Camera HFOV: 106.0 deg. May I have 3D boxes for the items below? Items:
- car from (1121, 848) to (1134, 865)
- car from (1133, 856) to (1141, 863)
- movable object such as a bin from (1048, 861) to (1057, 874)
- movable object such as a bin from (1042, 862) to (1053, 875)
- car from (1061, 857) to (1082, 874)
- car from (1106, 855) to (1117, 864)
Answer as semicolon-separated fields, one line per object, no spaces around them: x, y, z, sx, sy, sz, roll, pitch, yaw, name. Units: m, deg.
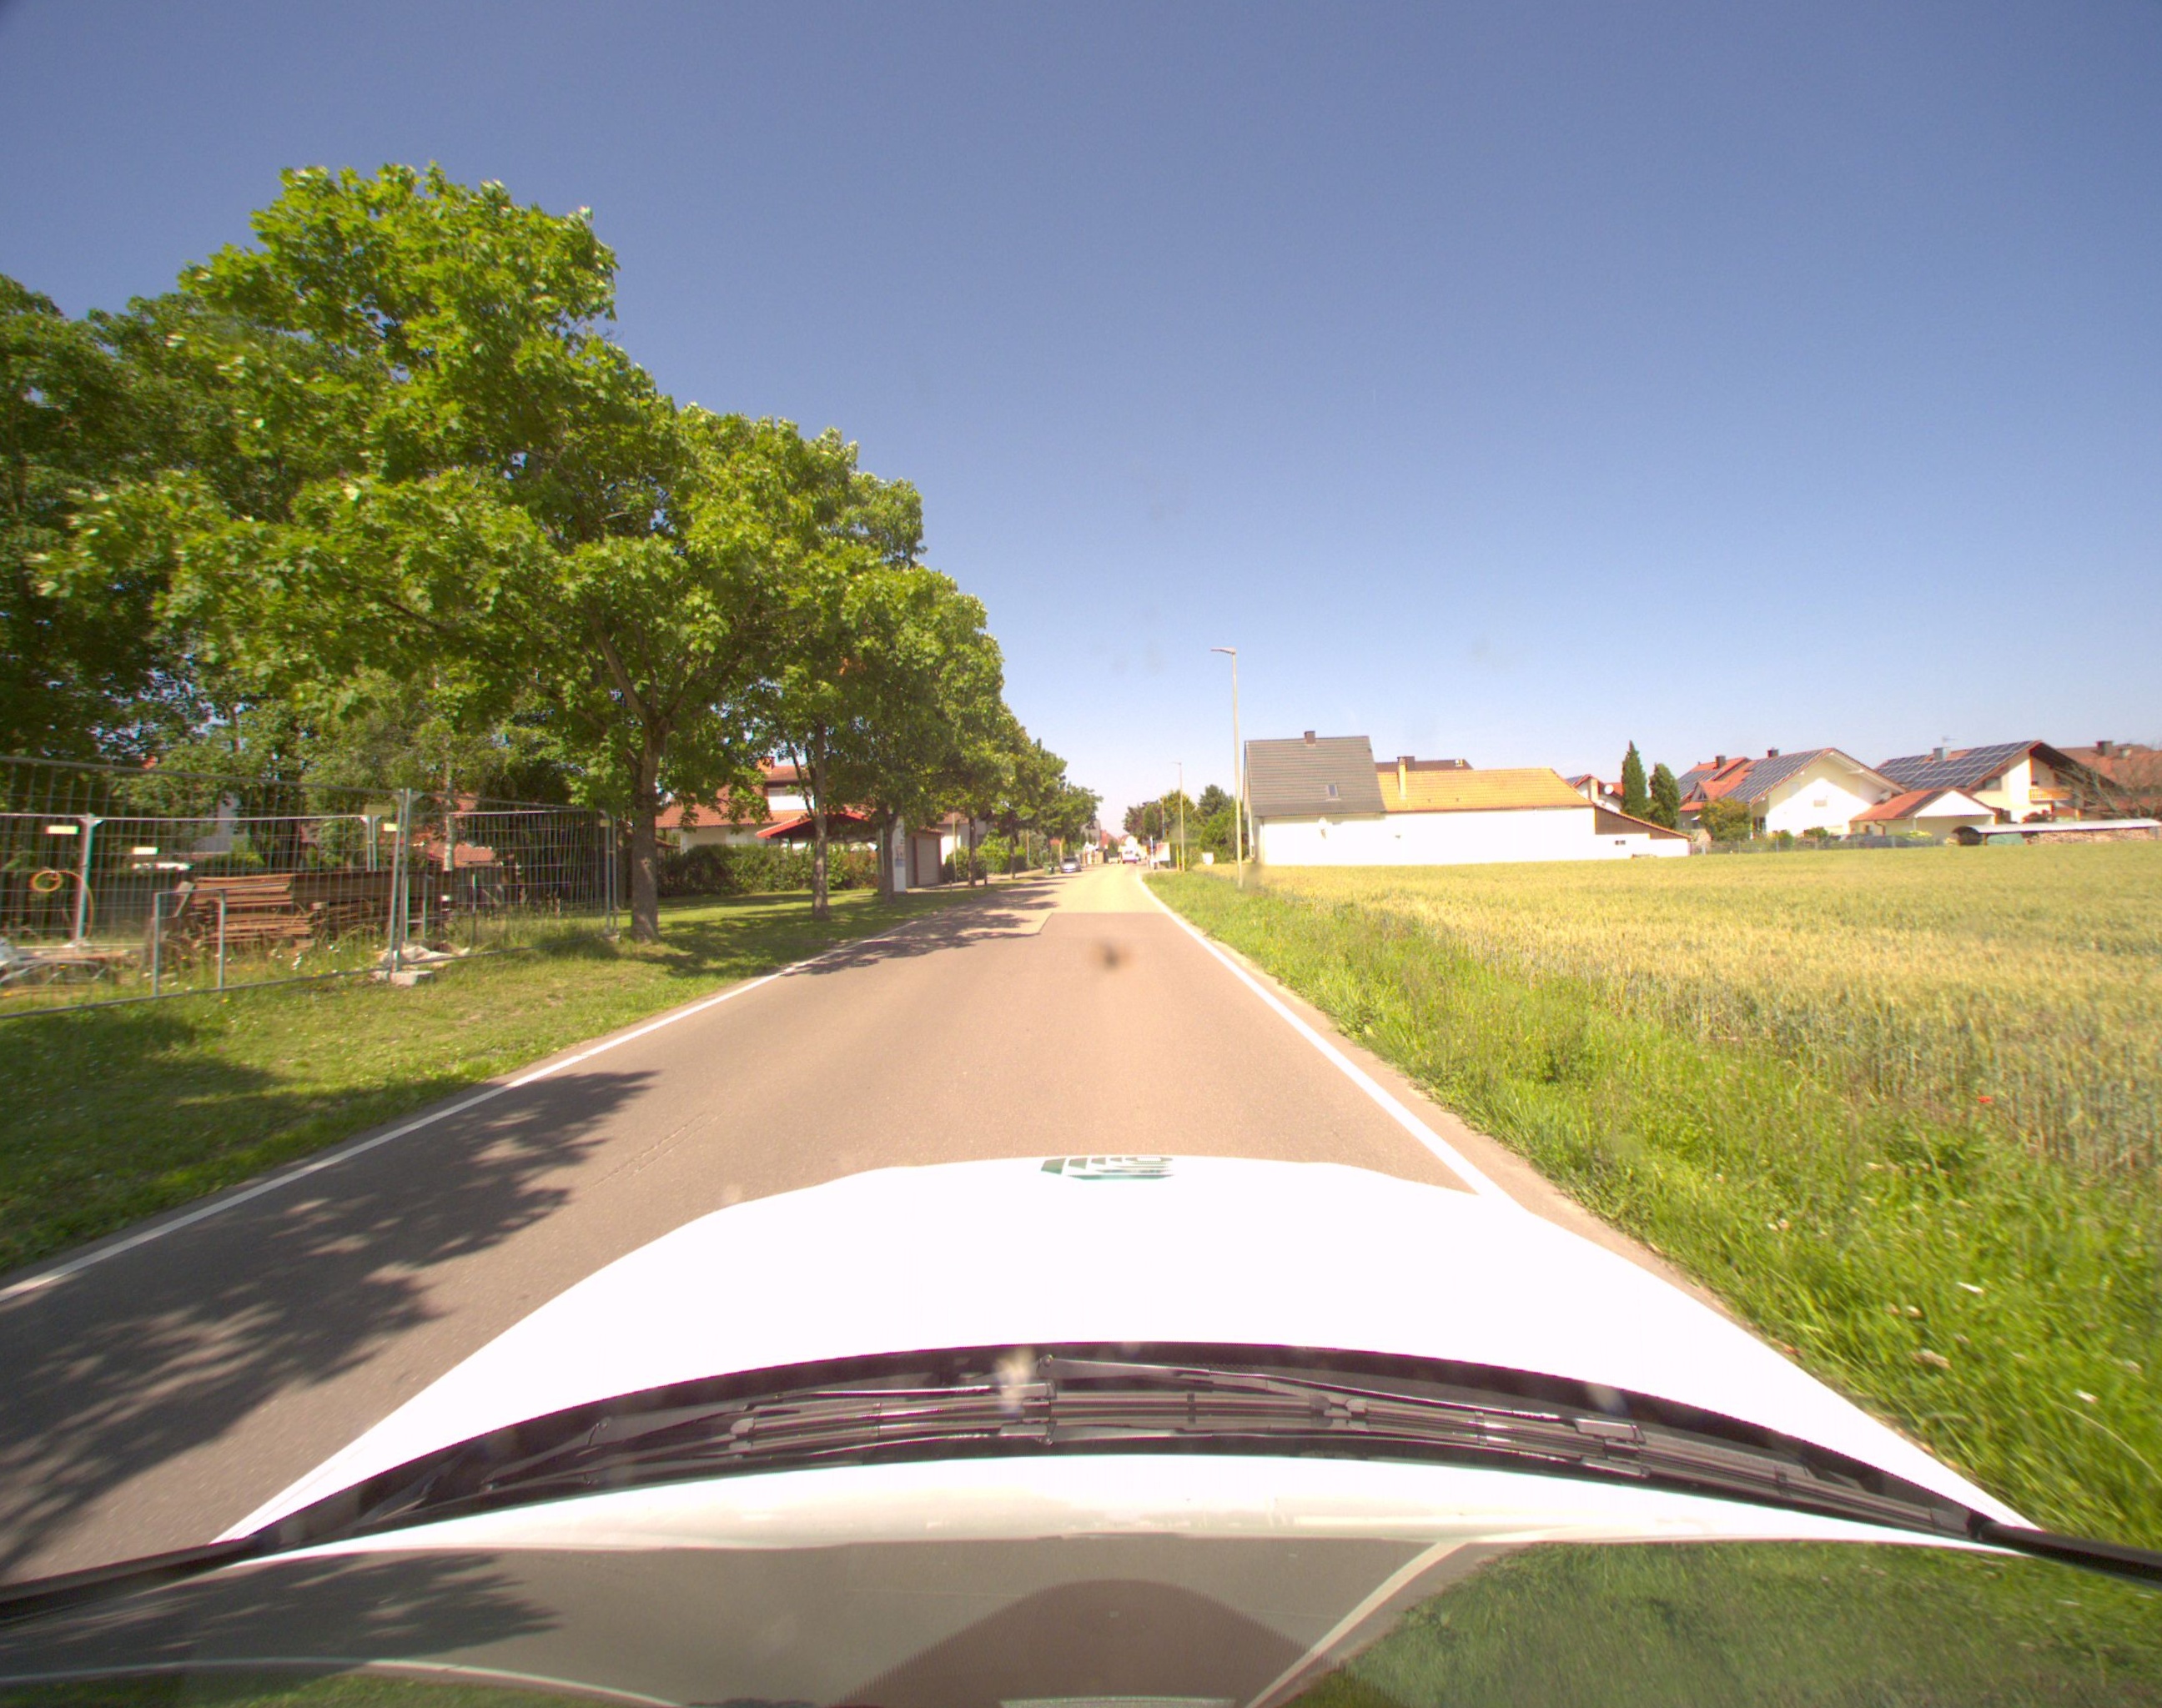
7.065;0.347;123.651;1.730;2.432;4.378;-3;0;4;car
13.974;1.315;202.747;1.828;1.753;3.797;-2;0;2;car
-2.449;1.177;69.612;0.570;1.079;0.601;-2;-1;16;movable object such as a bin
-2.837;1.213;68.909;0.706;1.079;0.643;-3;-1;28;movable object such as a bin
-0.871;1.025;74.241;1.641;1.423;4.081;-4;0;2;car
5.231;0.935;139.070;1.660;1.524;3.442;-3;0;0;car
